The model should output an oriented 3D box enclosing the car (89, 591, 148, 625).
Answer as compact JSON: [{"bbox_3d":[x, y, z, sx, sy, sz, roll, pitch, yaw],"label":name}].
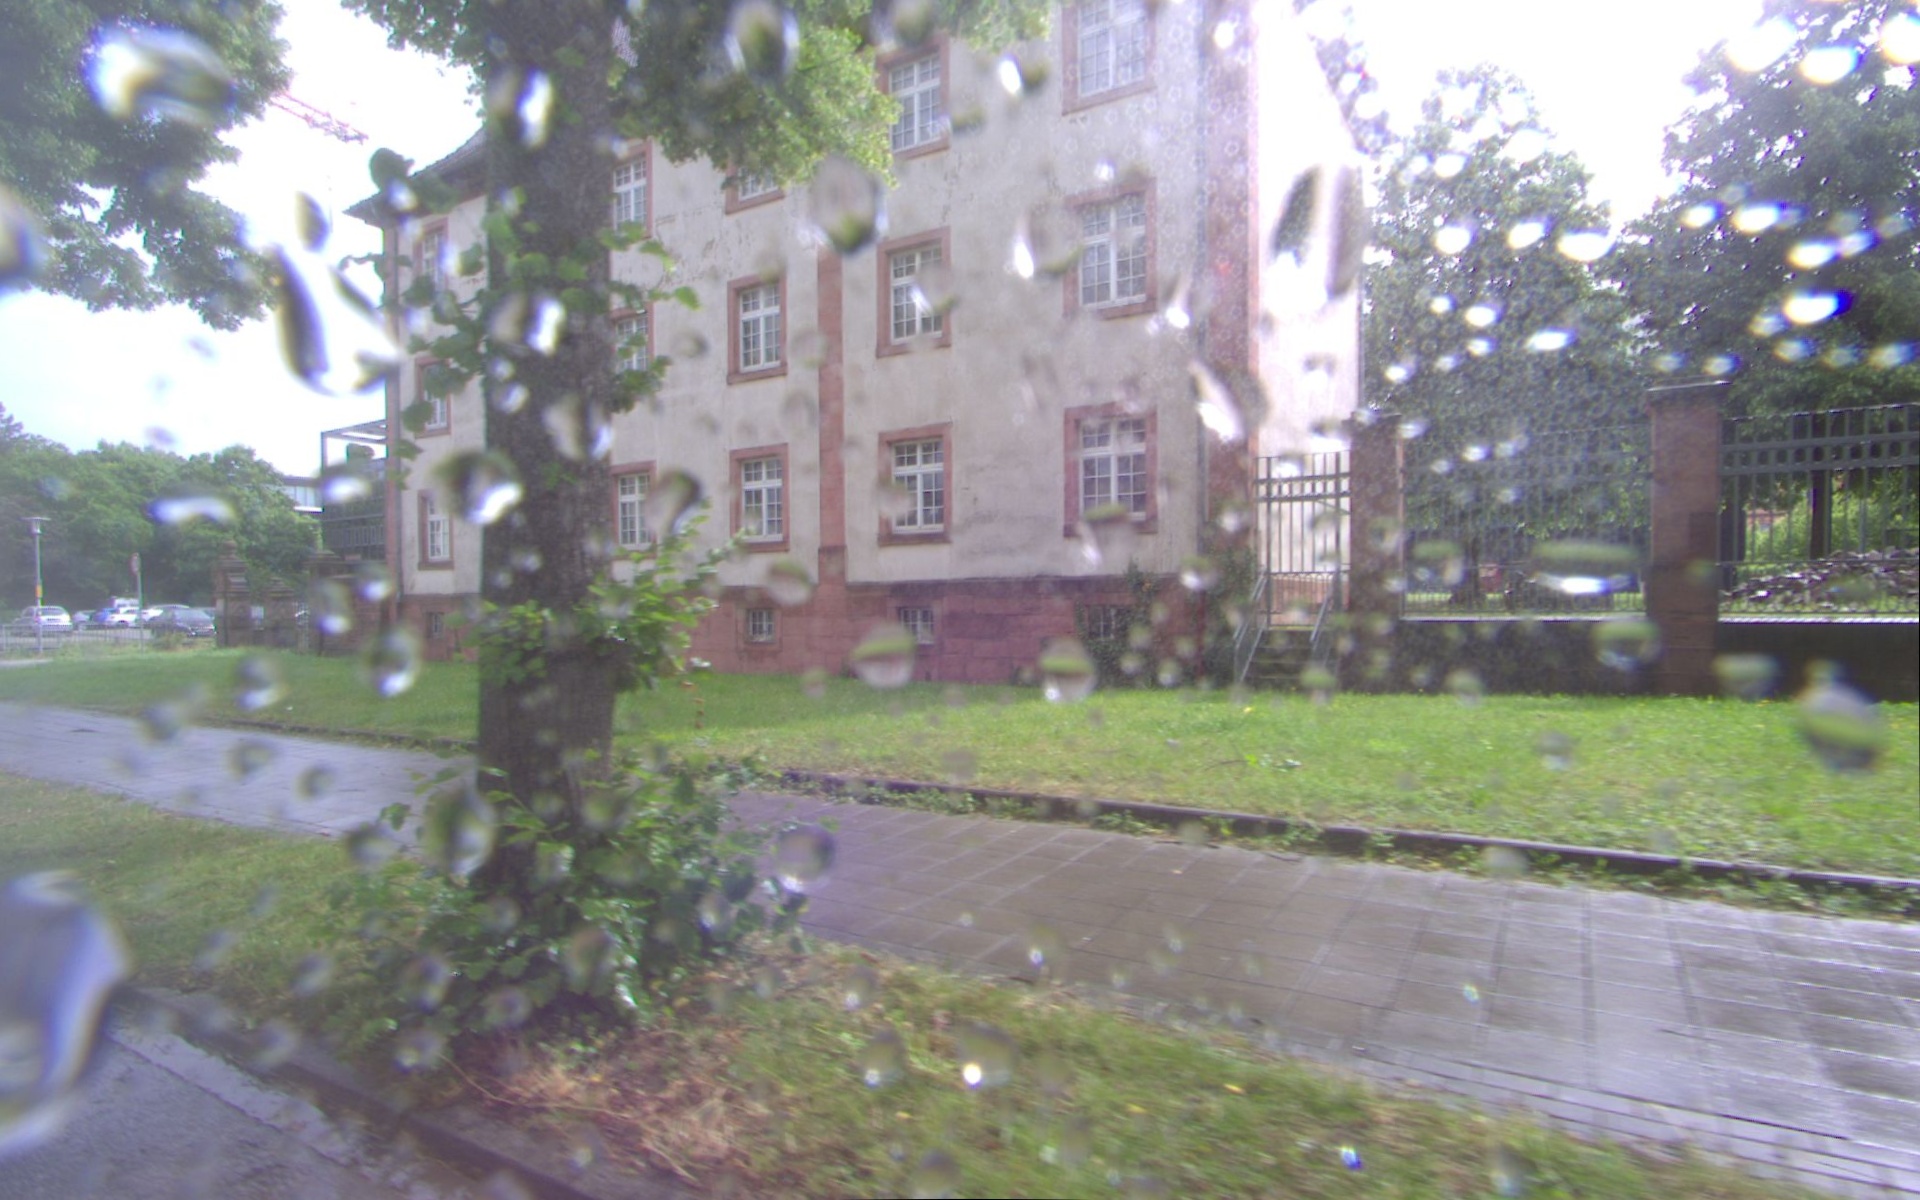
[{"bbox_3d":[-55.516,0.517,66.031,3.948,2.041,1.986,0,3,36],"label":"car"}]

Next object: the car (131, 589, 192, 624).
[{"bbox_3d":[-50.471,0.419,63.262,3.948,2.041,1.986,0,3,36],"label":"car"}]

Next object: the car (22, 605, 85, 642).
[{"bbox_3d":[-46.573,1.186,51.428,3.822,1.707,1.734,0,3,39],"label":"car"}]

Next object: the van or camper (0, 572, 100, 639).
[{"bbox_3d":[-38.205,0.227,40.298,2.136,2.630,5.023,0,1,31],"label":"van or camper"}]
